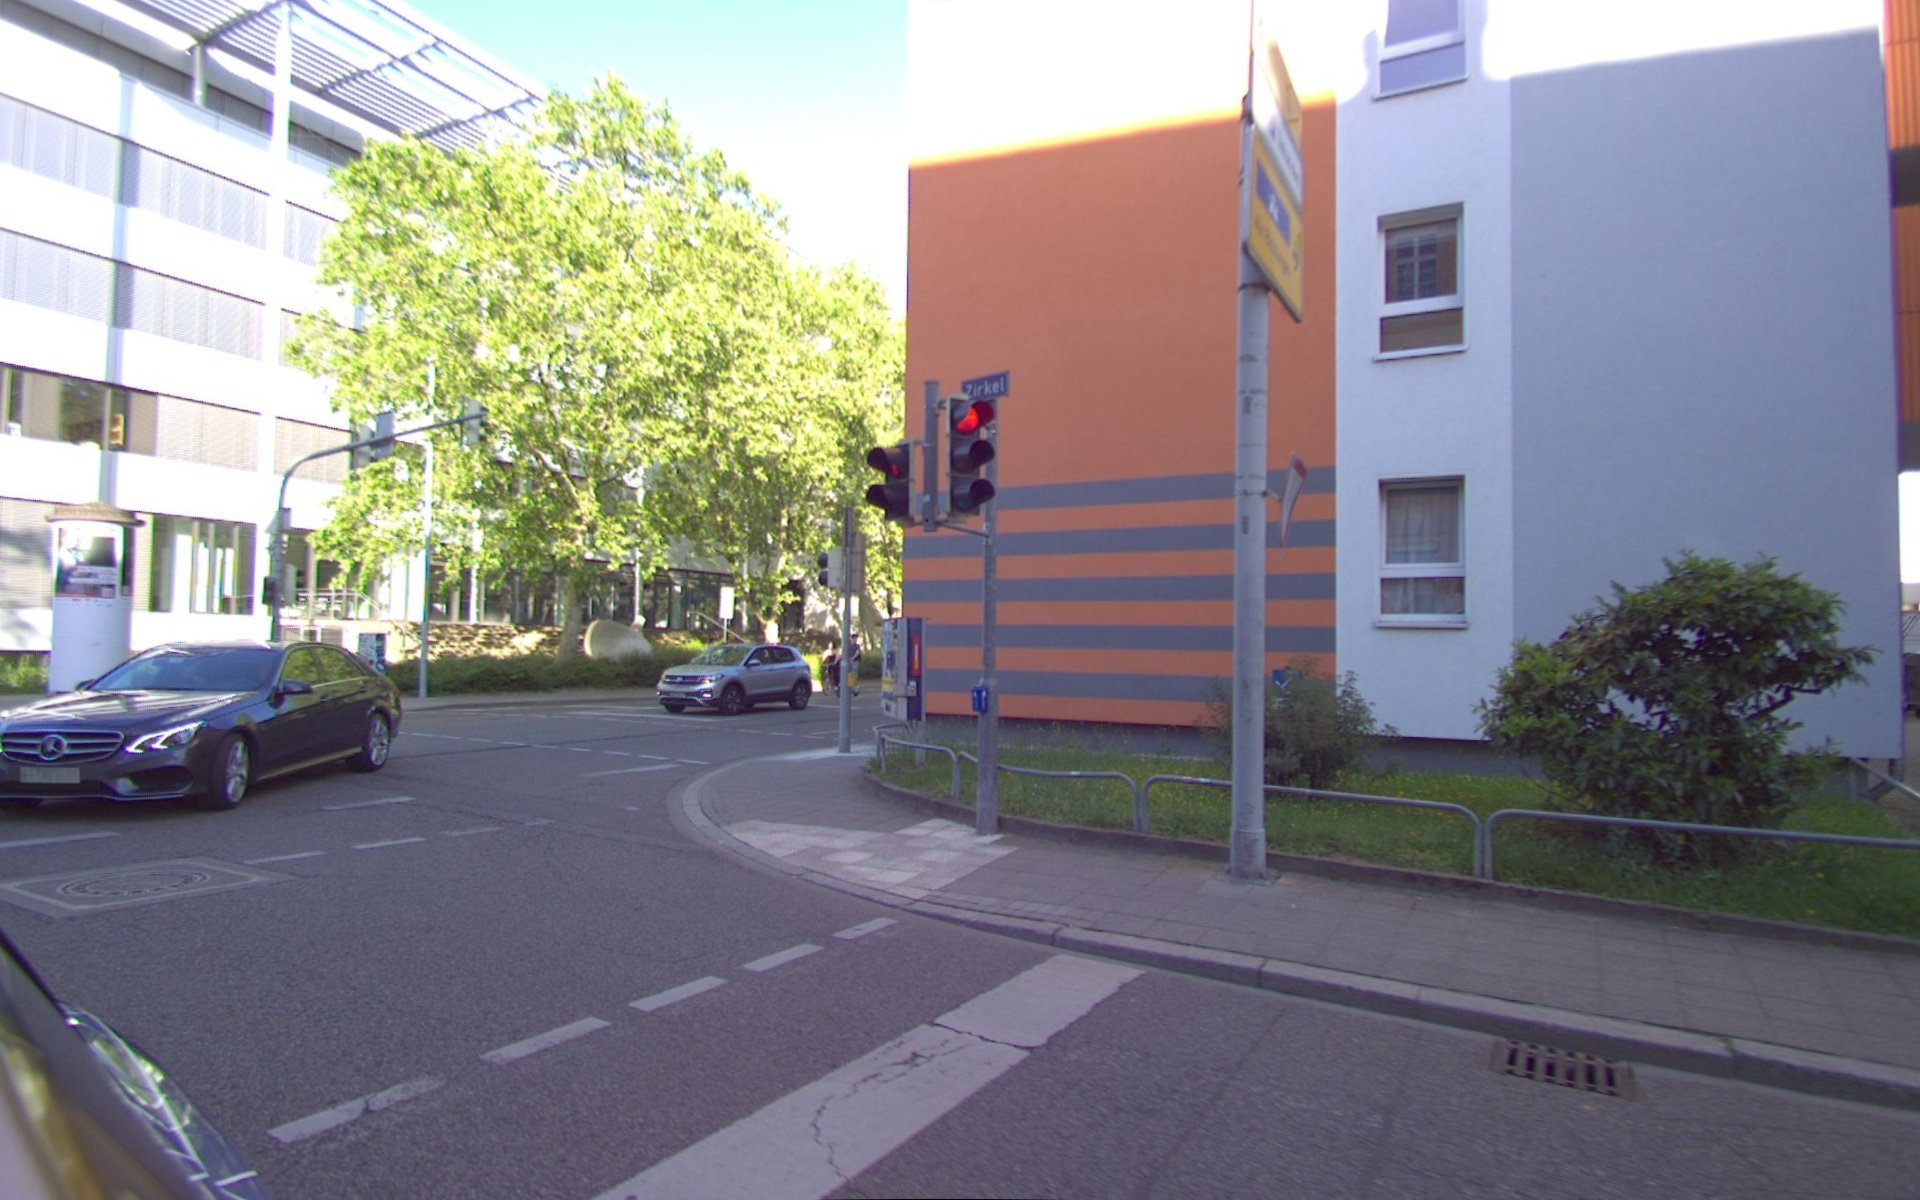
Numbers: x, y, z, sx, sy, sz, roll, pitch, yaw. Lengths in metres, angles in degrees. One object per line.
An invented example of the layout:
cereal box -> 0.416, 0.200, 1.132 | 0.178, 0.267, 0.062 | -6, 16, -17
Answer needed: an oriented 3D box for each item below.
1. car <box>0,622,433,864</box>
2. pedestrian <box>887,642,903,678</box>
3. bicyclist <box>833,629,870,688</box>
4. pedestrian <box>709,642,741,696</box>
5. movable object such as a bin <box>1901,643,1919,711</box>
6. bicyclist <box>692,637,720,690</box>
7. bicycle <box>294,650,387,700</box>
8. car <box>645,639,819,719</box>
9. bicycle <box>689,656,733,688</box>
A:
car -> -7.206, 1.125, 9.921 | 1.773, 1.479, 4.723 | 3, 2, -3
pedestrian -> -2.926, 2.700, 45.466 | 0.460, 1.606, 0.677 | -1, -3, 26
bicyclist -> -3.299, 1.779, 30.791 | 0.766, 1.746, 0.893 | -3, -4, 26
pedestrian -> -7.762, 2.261, 33.397 | 0.772, 1.732, 0.686 | -2, -2, 26
movable object such as a bin -> 21.644, 1.683, 22.058 | 1.374, 1.482, 1.192 | -1, -3, 29
bicyclist -> -8.506, 2.125, 33.895 | 0.631, 1.726, 0.649 | 0, -1, 26
bicycle -> -15.373, 1.859, 25.131 | 1.964, 1.191, 0.471 | 1, -2, -2
car -> -5.006, 1.704, 22.760 | 1.739, 1.616, 3.965 | -1, -3, 25
bicycle -> -8.476, 2.448, 34.505 | 0.520, 1.042, 1.633 | -1, -3, 25
